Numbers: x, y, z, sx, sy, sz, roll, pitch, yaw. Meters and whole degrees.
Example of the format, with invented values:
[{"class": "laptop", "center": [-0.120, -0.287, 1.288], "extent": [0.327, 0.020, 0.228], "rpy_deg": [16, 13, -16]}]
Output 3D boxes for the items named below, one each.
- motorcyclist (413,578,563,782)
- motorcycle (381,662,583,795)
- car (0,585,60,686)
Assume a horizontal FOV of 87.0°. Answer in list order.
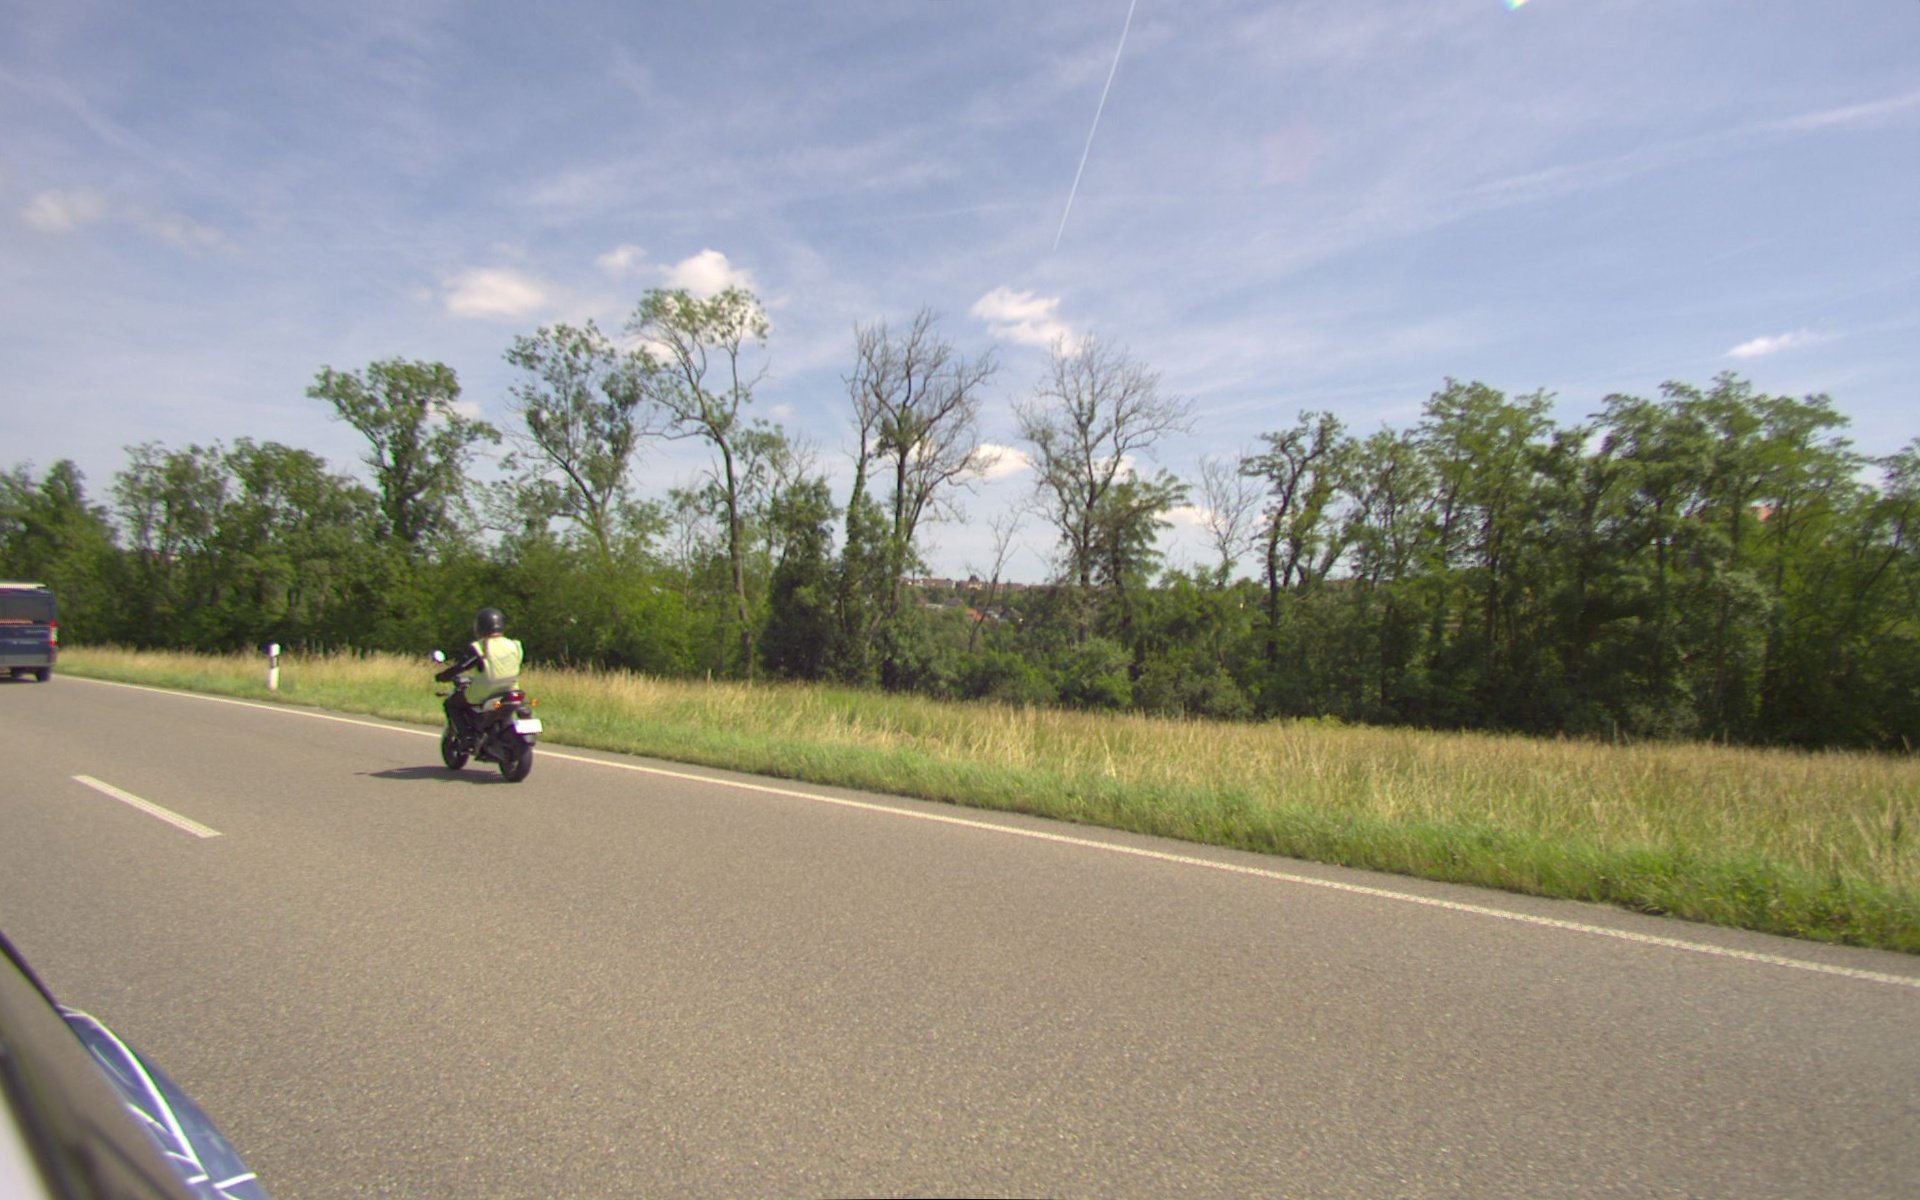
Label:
[{"class": "motorcyclist", "center": [-4.319, 0.695, 9.272], "extent": [0.962, 1.731, 0.909], "rpy_deg": [-1, -2, 40]}, {"class": "motorcycle", "center": [-4.446, 1.118, 9.327], "extent": [2.277, 1.002, 0.750], "rpy_deg": [-1, -2, 39]}, {"class": "car", "center": [-23.997, 0.850, 24.755], "extent": [4.900, 2.321, 2.150], "rpy_deg": [-1, -1, 38]}]
